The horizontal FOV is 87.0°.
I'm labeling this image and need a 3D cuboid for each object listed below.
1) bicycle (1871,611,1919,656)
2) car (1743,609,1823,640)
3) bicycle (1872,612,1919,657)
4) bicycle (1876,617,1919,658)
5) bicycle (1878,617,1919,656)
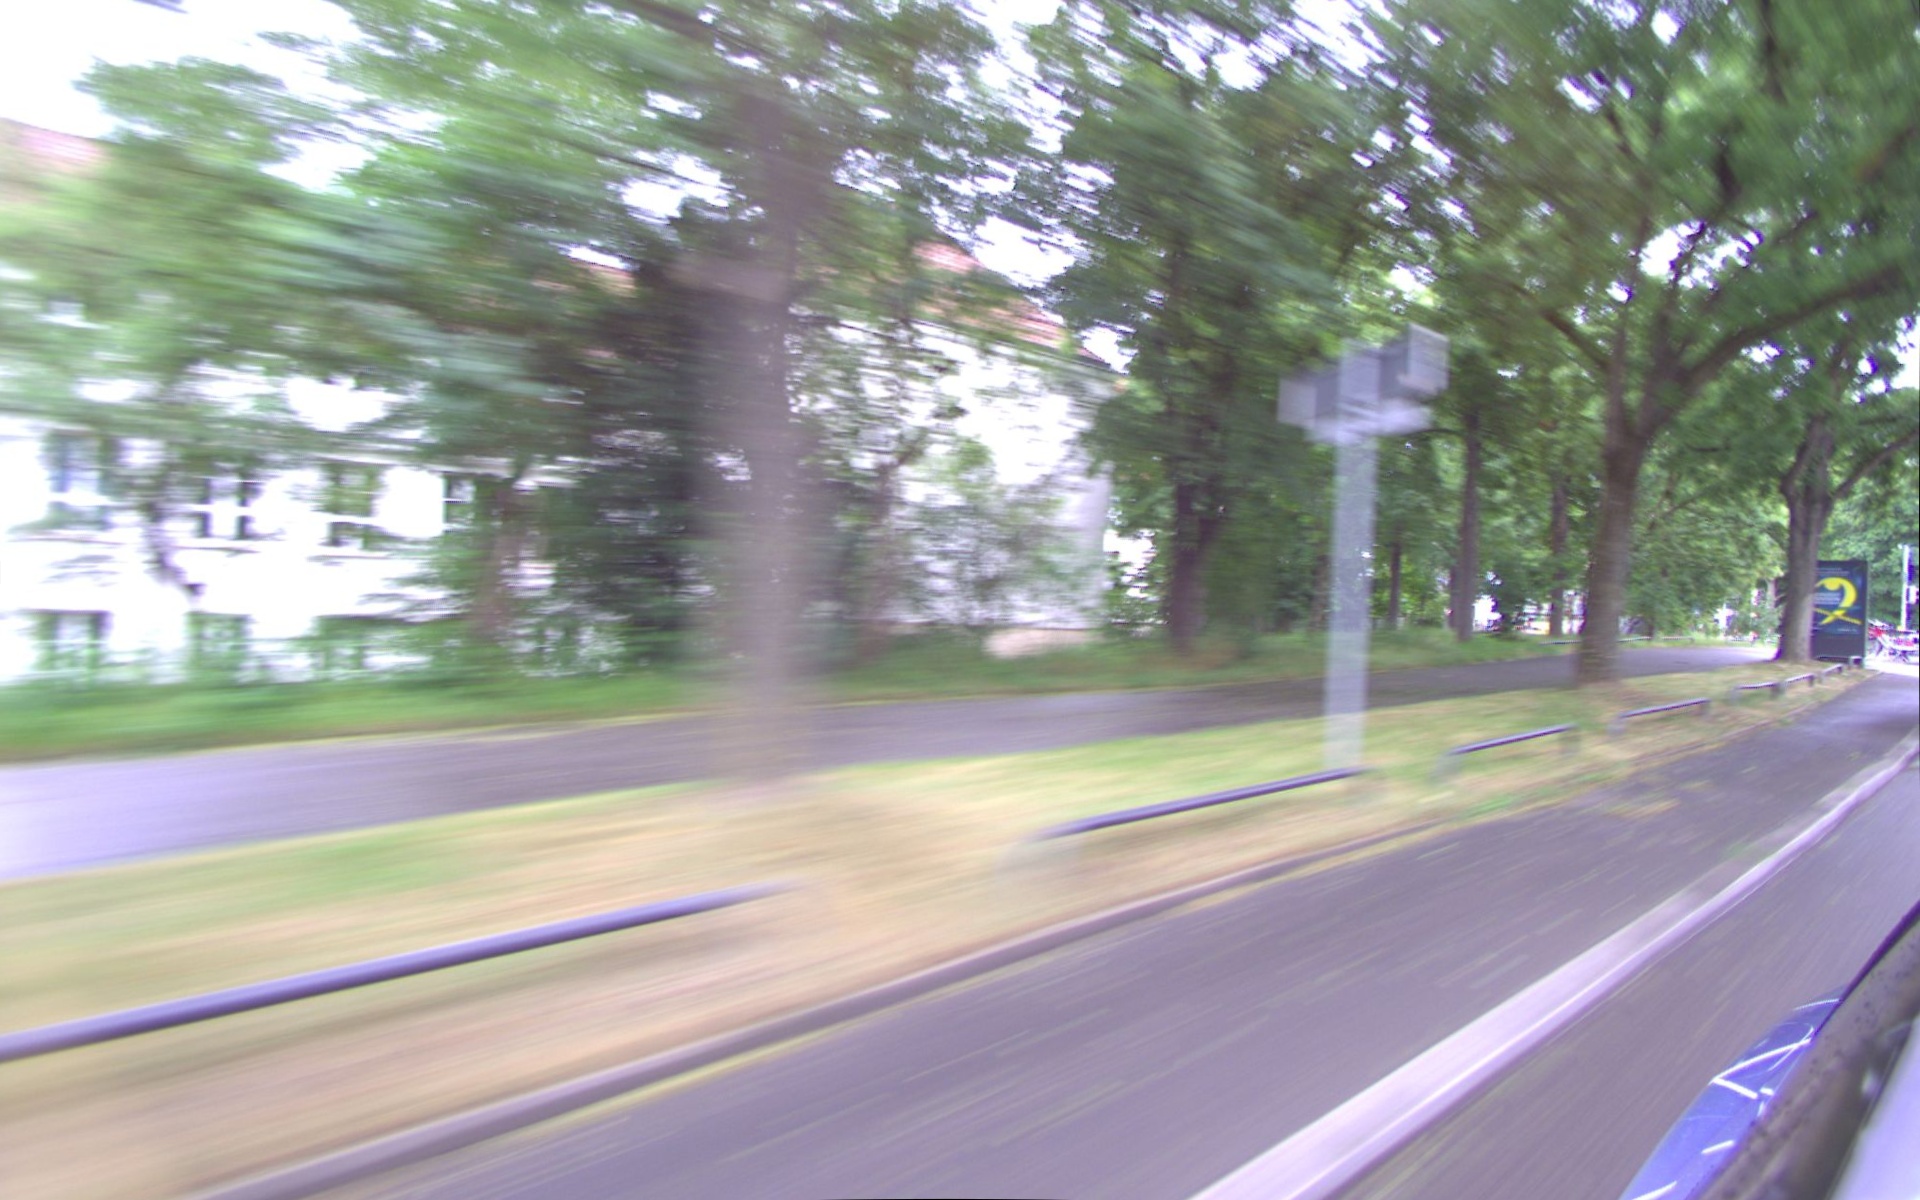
[{"bbox_3d":[25.899,0.931,27.604,1.486,1.145,0.548,6,3,44],"label":"bicycle"},{"bbox_3d":[57.915,1.717,71.278,3.928,2.039,1.998,2,-1,4],"label":"car"},{"bbox_3d":[26.541,0.978,28.291,1.486,1.145,0.548,6,3,44],"label":"bicycle"},{"bbox_3d":[28.345,1.129,30.158,1.486,1.145,0.548,6,3,44],"label":"bicycle"},{"bbox_3d":[30.295,1.175,32.159,1.597,1.145,0.548,6,3,44],"label":"bicycle"}]
